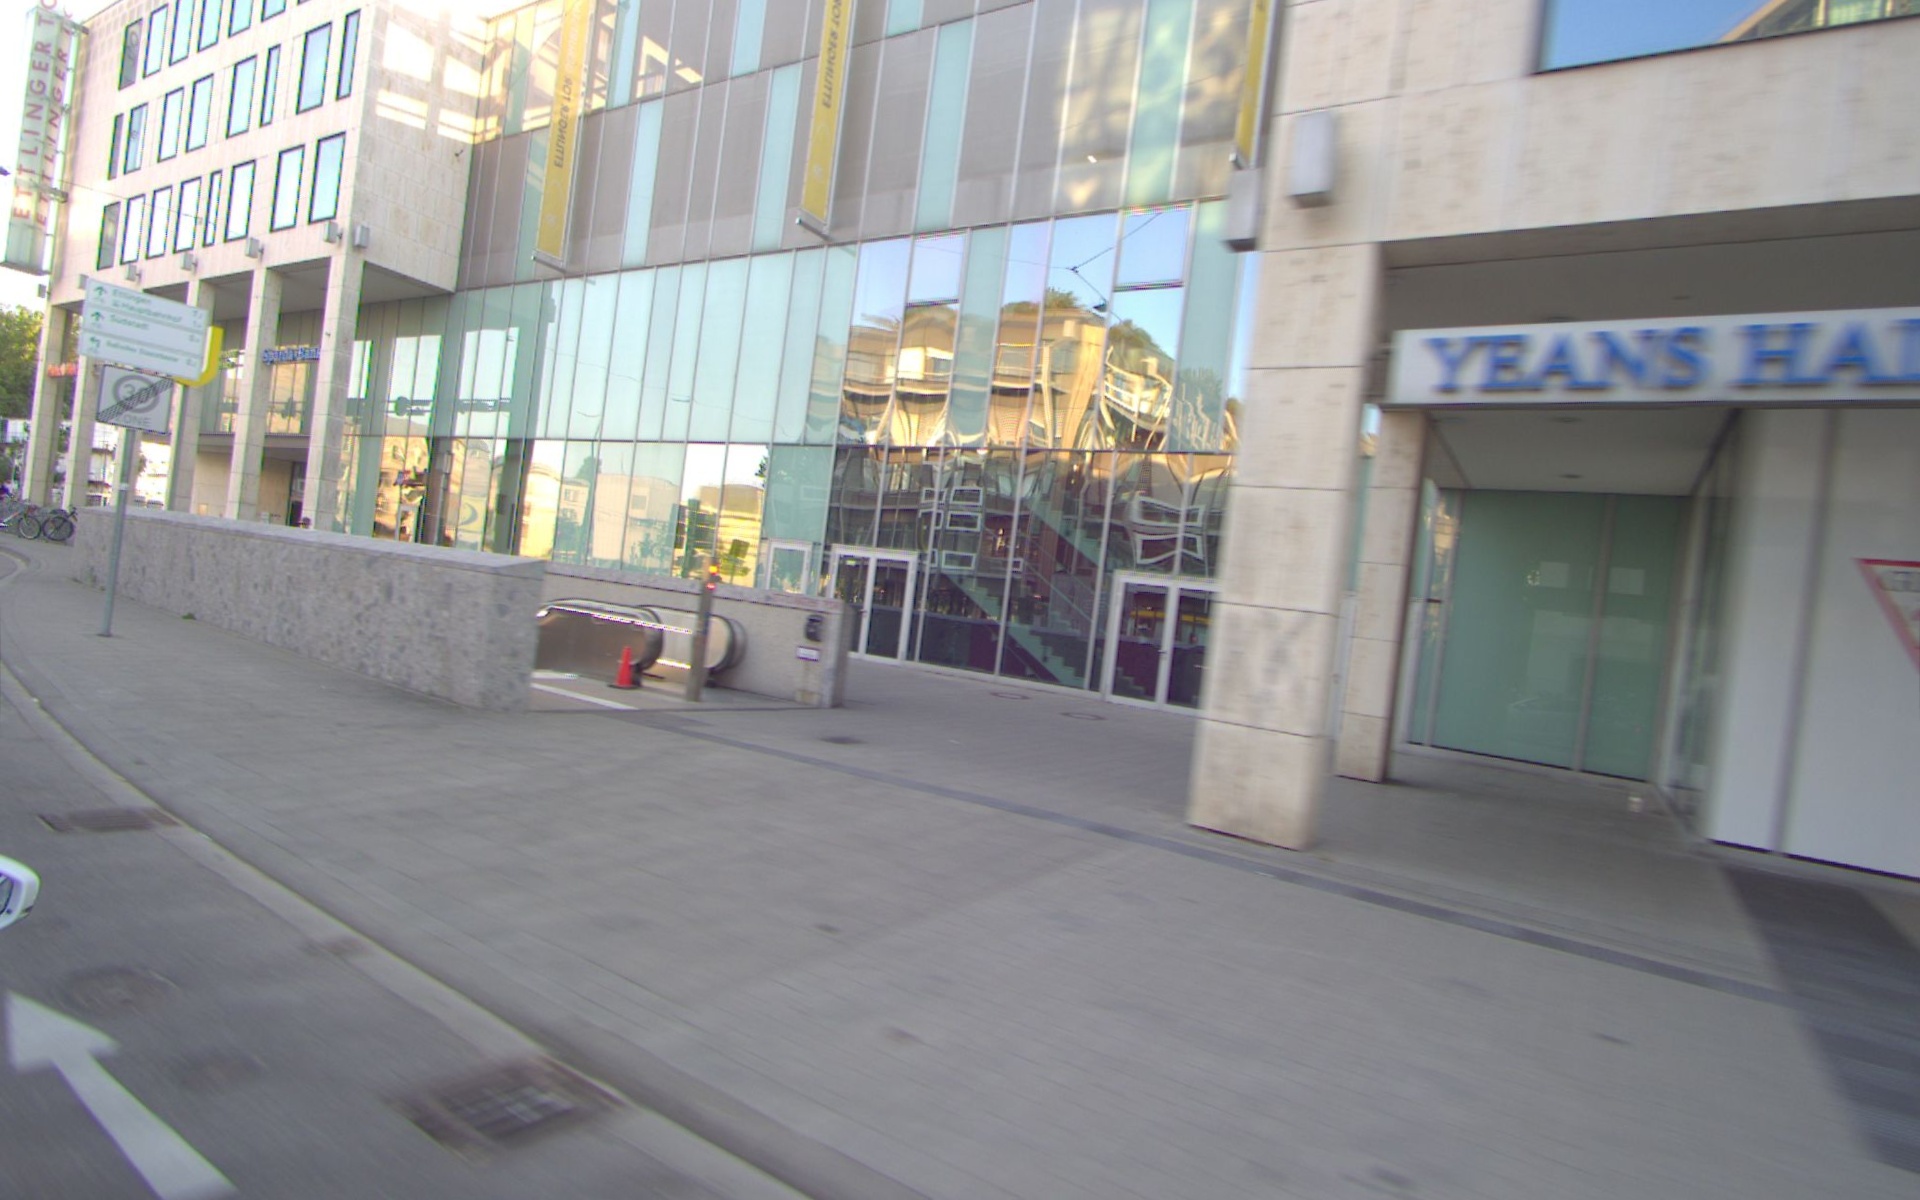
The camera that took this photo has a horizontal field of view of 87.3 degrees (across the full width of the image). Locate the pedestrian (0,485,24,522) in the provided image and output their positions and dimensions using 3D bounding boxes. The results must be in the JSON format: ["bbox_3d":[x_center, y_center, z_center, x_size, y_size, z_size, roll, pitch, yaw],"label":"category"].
[{"bbox_3d":[-49.378,-5.017,52.266,0.677,1.751,0.892,7,0,37],"label":"pedestrian"}]

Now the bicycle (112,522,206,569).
[{"bbox_3d":[-20.412,-1.371,25.670,0.508,0.947,1.741,7,0,31],"label":"bicycle"}]

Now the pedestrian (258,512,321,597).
[{"bbox_3d":[-14.991,-1.017,22.506,0.808,1.756,0.834,7,0,40],"label":"pedestrian"}]

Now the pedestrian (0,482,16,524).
[{"bbox_3d":[-42.308,-4.302,44.362,0.729,1.801,0.756,7,3,34],"label":"pedestrian"}]

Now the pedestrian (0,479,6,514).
[{"bbox_3d":[-49.025,-5.285,50.869,0.677,1.751,0.892,7,0,37],"label":"pedestrian"}]

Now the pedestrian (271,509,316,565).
[{"bbox_3d":[-23.021,-2.174,34.755,0.974,1.800,0.861,7,2,32],"label":"pedestrian"}]

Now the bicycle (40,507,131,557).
[{"bbox_3d":[-25.336,-1.958,29.177,0.592,1.112,1.817,7,-3,40],"label":"bicycle"}]

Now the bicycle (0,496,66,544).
[{"bbox_3d":[-30.350,-2.609,32.560,0.662,1.274,1.871,7,-2,31],"label":"bicycle"}]

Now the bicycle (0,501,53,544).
[{"bbox_3d":[-27.253,-2.263,28.715,0.562,1.060,1.898,7,0,38],"label":"bicycle"}]

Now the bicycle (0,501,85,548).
[{"bbox_3d":[-28.884,-2.357,31.635,0.562,1.126,1.873,7,-3,36],"label":"bicycle"}]

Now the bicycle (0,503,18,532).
[{"bbox_3d":[-34.159,-2.998,35.028,0.508,0.947,1.869,7,-1,31],"label":"bicycle"}]
